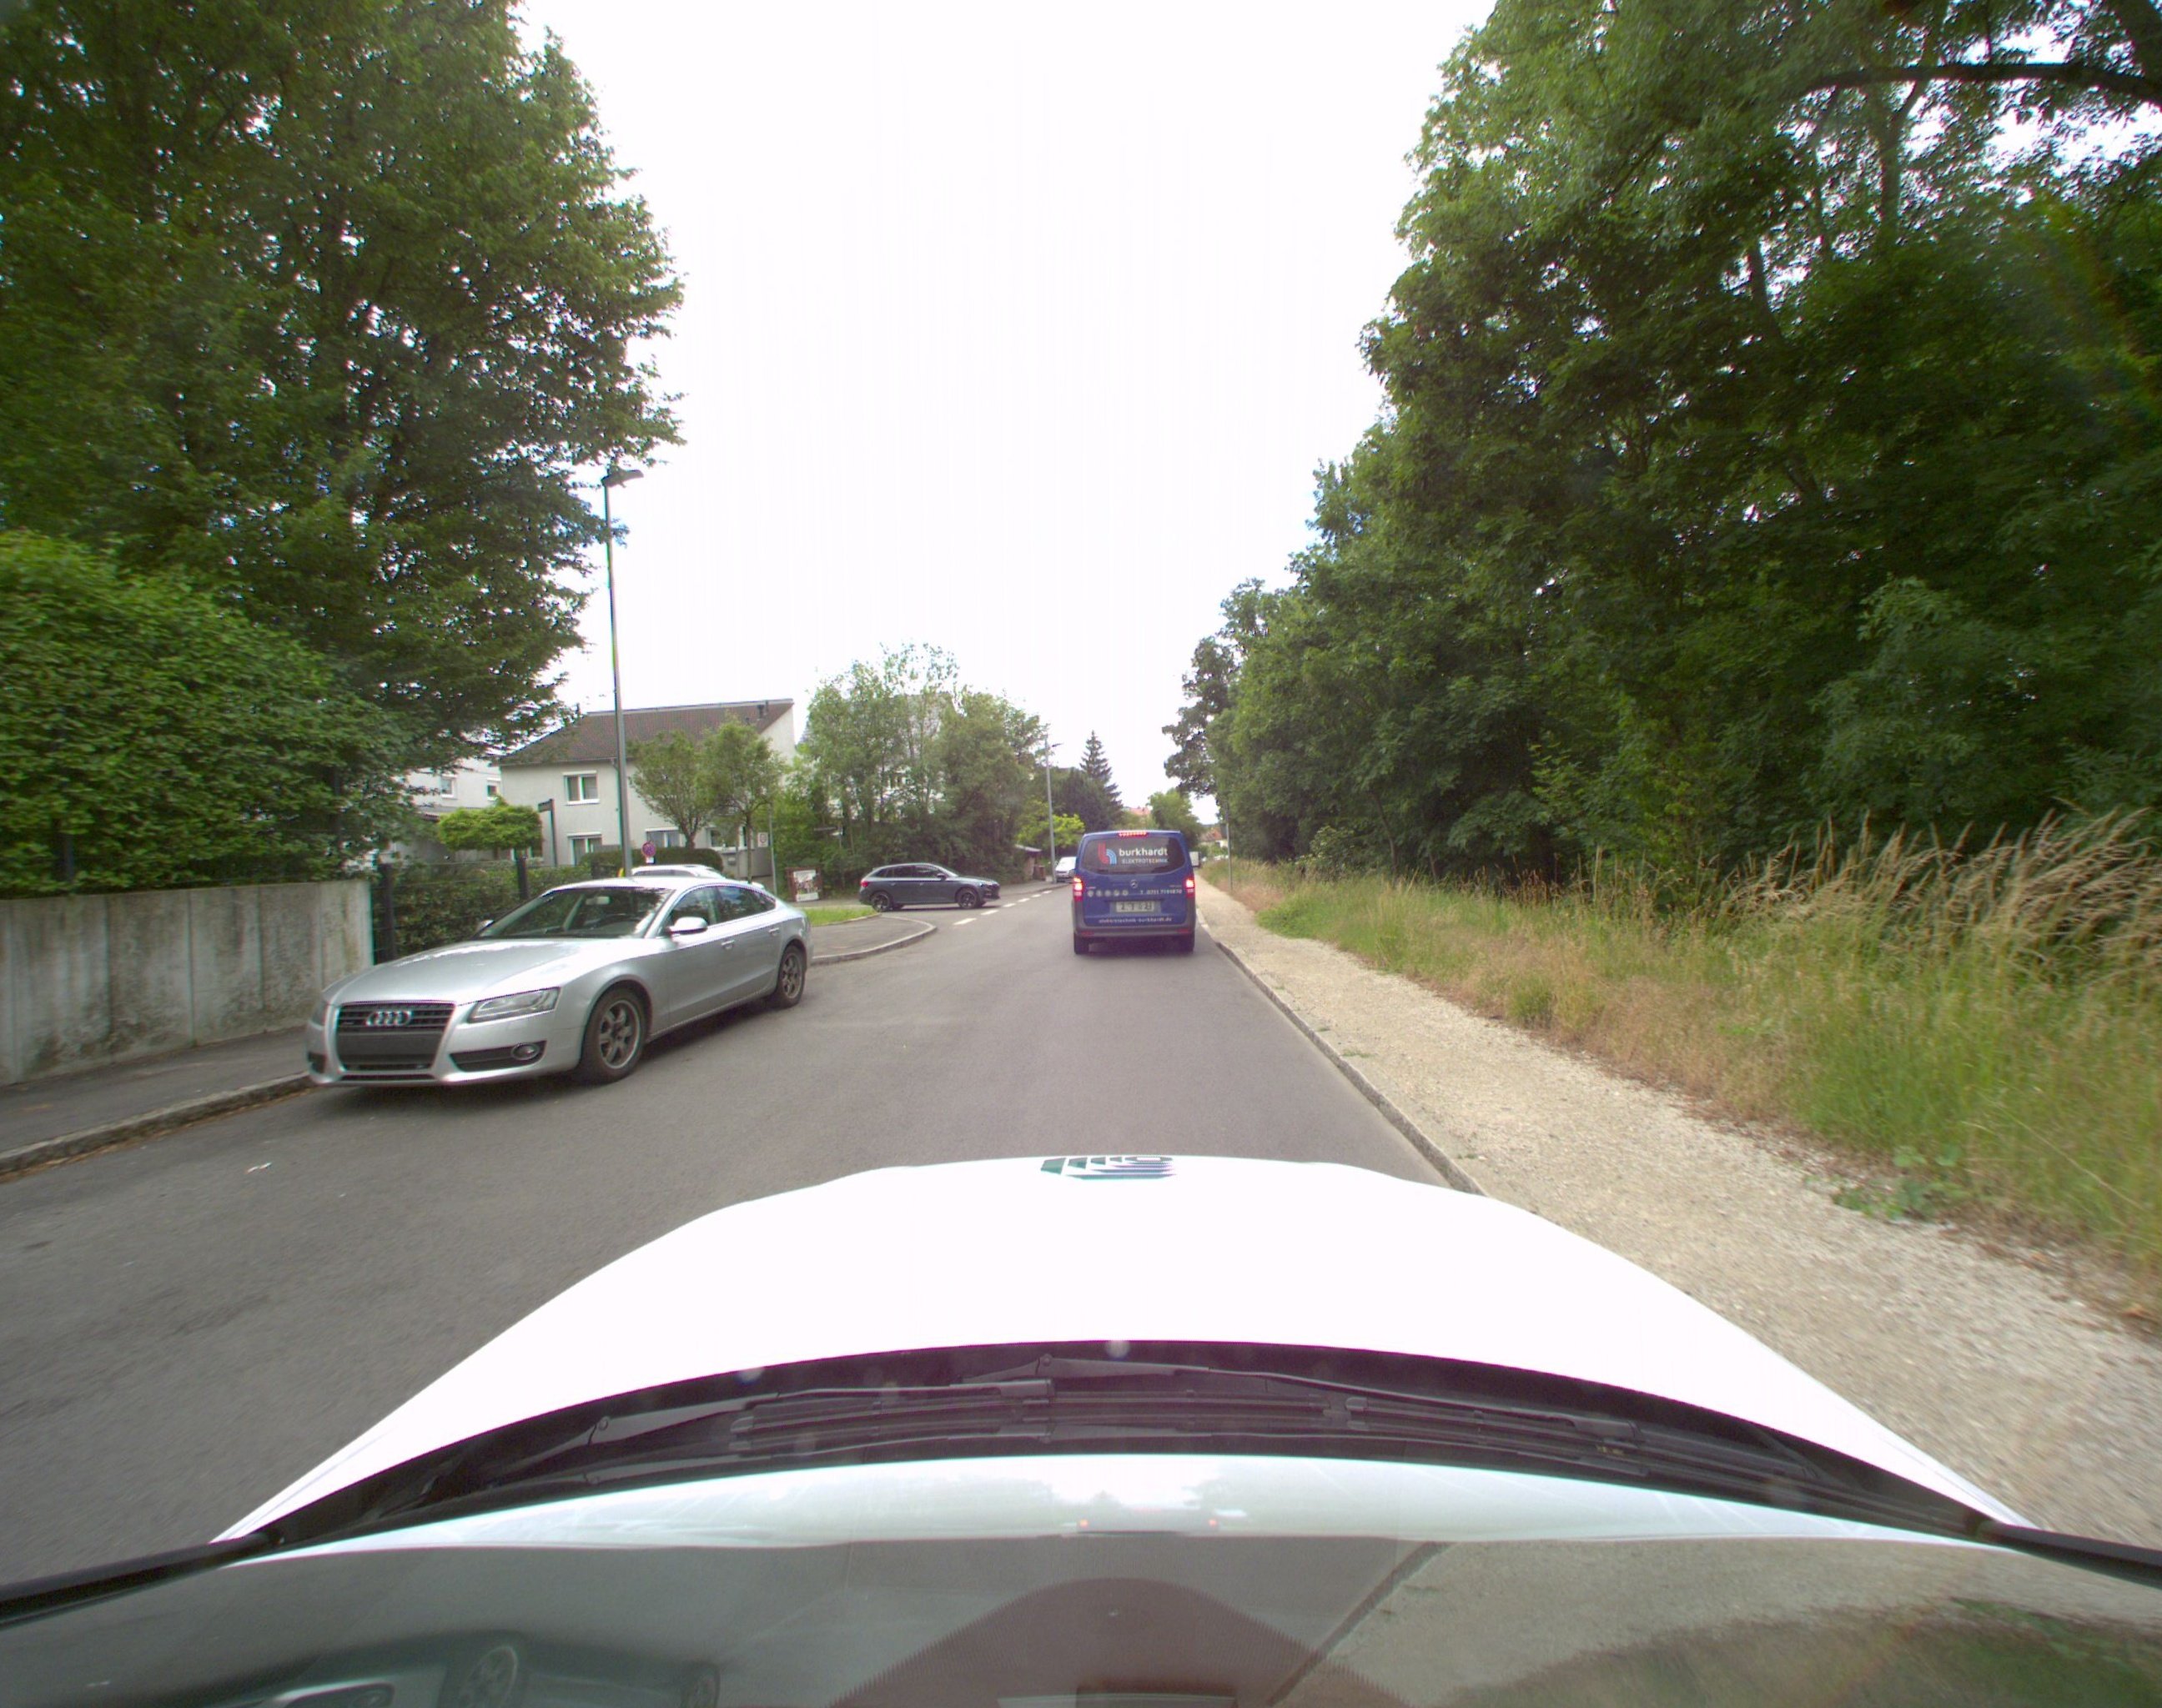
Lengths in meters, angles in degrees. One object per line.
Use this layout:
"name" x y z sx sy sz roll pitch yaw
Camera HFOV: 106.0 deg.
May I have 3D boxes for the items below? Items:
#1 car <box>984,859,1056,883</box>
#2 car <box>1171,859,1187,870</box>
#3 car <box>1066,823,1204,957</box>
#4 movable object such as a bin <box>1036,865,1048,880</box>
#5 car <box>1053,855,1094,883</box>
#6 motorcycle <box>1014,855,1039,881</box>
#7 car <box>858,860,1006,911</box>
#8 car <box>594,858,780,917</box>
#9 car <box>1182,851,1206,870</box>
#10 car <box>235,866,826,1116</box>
"car" -4.114 1.133 54.927 4.453 1.441 1.884 -1 -1 9
"car" 13.547 1.431 112.714 1.737 1.404 4.014 -1 -1 13
"car" 0.943 0.513 13.970 1.927 1.880 4.536 -2 0 4
"movable object such as a bin" -2.409 1.132 50.331 0.586 0.909 0.703 -1 -1 13
"car" -0.378 0.794 45.567 1.696 1.468 4.083 -1 0 7
"motorcycle" -3.198 0.815 48.312 0.805 1.485 2.903 -1 -1 9
"car" -4.527 0.954 25.141 4.149 1.447 1.742 -1 -1 3
"car" -12.437 1.033 25.908 4.911 1.670 2.040 -2 -1 5
"car" 13.005 0.729 93.490 2.191 2.063 6.155 -2 0 12
"car" -3.969 0.849 7.034 1.823 1.374 4.450 -1 0 4
